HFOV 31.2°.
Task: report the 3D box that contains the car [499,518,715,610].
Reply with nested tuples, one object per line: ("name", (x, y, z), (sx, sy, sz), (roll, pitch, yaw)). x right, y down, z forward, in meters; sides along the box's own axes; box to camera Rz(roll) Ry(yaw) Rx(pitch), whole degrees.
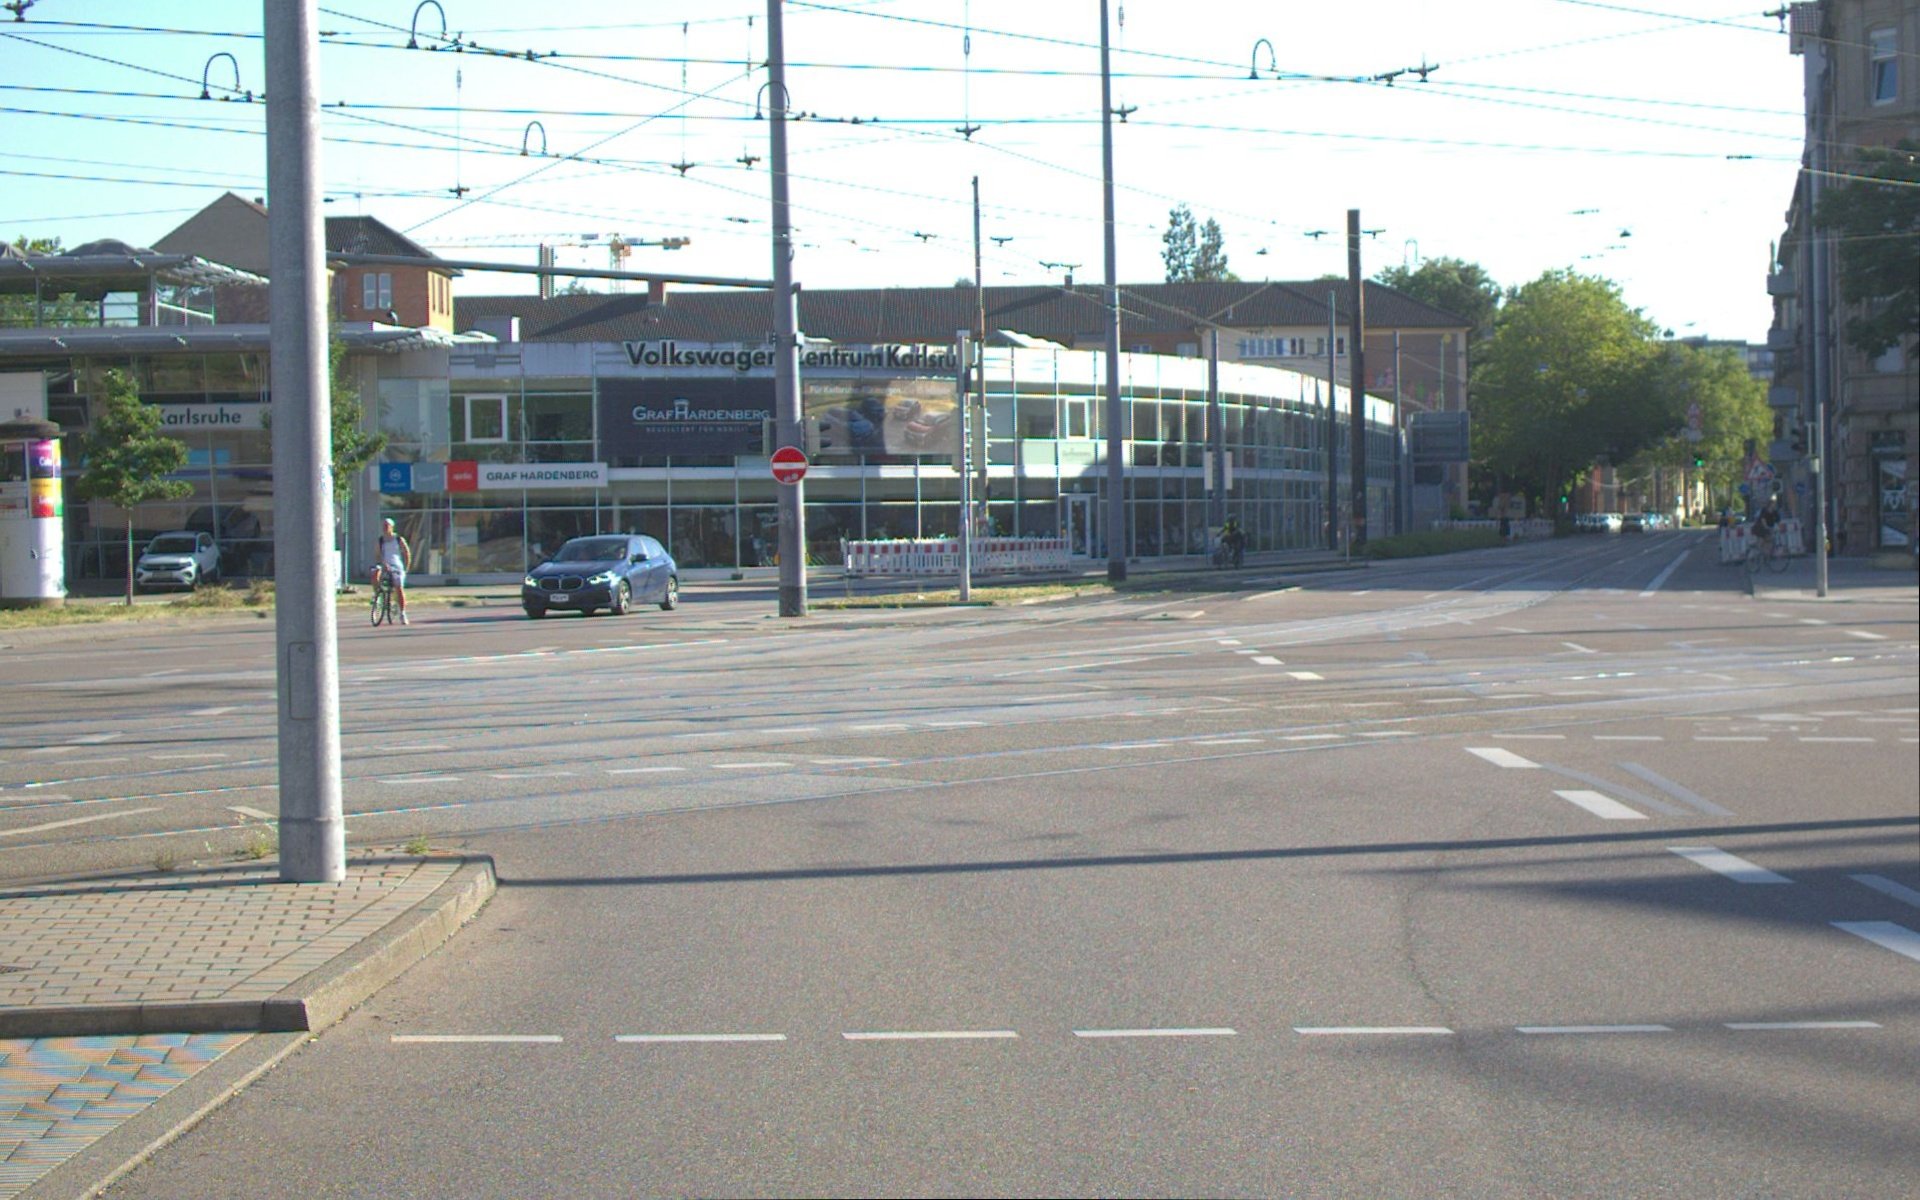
("car", (-6.295, -0.633, 61.726), (1.996, 1.579, 3.994), (1, 1, 27))

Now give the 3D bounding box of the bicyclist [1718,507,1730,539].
("bicyclist", (27.114, -2.739, 122.003), (0.408, 1.112, 0.399), (1, 0, 11))

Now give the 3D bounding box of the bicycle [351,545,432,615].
("bicycle", (-9.857, -0.349, 59.679), (0.613, 1.185, 1.867), (1, 1, 17))

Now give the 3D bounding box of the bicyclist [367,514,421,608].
("bicyclist", (-9.830, -0.681, 59.744), (0.598, 1.610, 0.822), (1, 0, 17))

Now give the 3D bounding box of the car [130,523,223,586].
("car", (-22.618, -1.304, 99.397), (1.993, 1.744, 4.001), (1, 1, -4))

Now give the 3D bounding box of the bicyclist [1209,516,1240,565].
("bicyclist", (8.574, -1.928, 111.508), (0.655, 1.567, 0.921), (1, 0, 29))

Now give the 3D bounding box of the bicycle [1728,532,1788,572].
("bicycle", (19.194, -1.162, 82.723), (0.657, 0.949, 1.600), (1, 1, -18))

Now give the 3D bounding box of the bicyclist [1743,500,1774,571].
("bicyclist", (19.211, -1.547, 82.718), (0.518, 1.695, 0.516), (1, 0, -17))

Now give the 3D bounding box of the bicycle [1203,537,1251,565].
("bicycle", (8.682, -1.585, 111.684), (0.639, 0.867, 2.231), (1, 1, 29))
